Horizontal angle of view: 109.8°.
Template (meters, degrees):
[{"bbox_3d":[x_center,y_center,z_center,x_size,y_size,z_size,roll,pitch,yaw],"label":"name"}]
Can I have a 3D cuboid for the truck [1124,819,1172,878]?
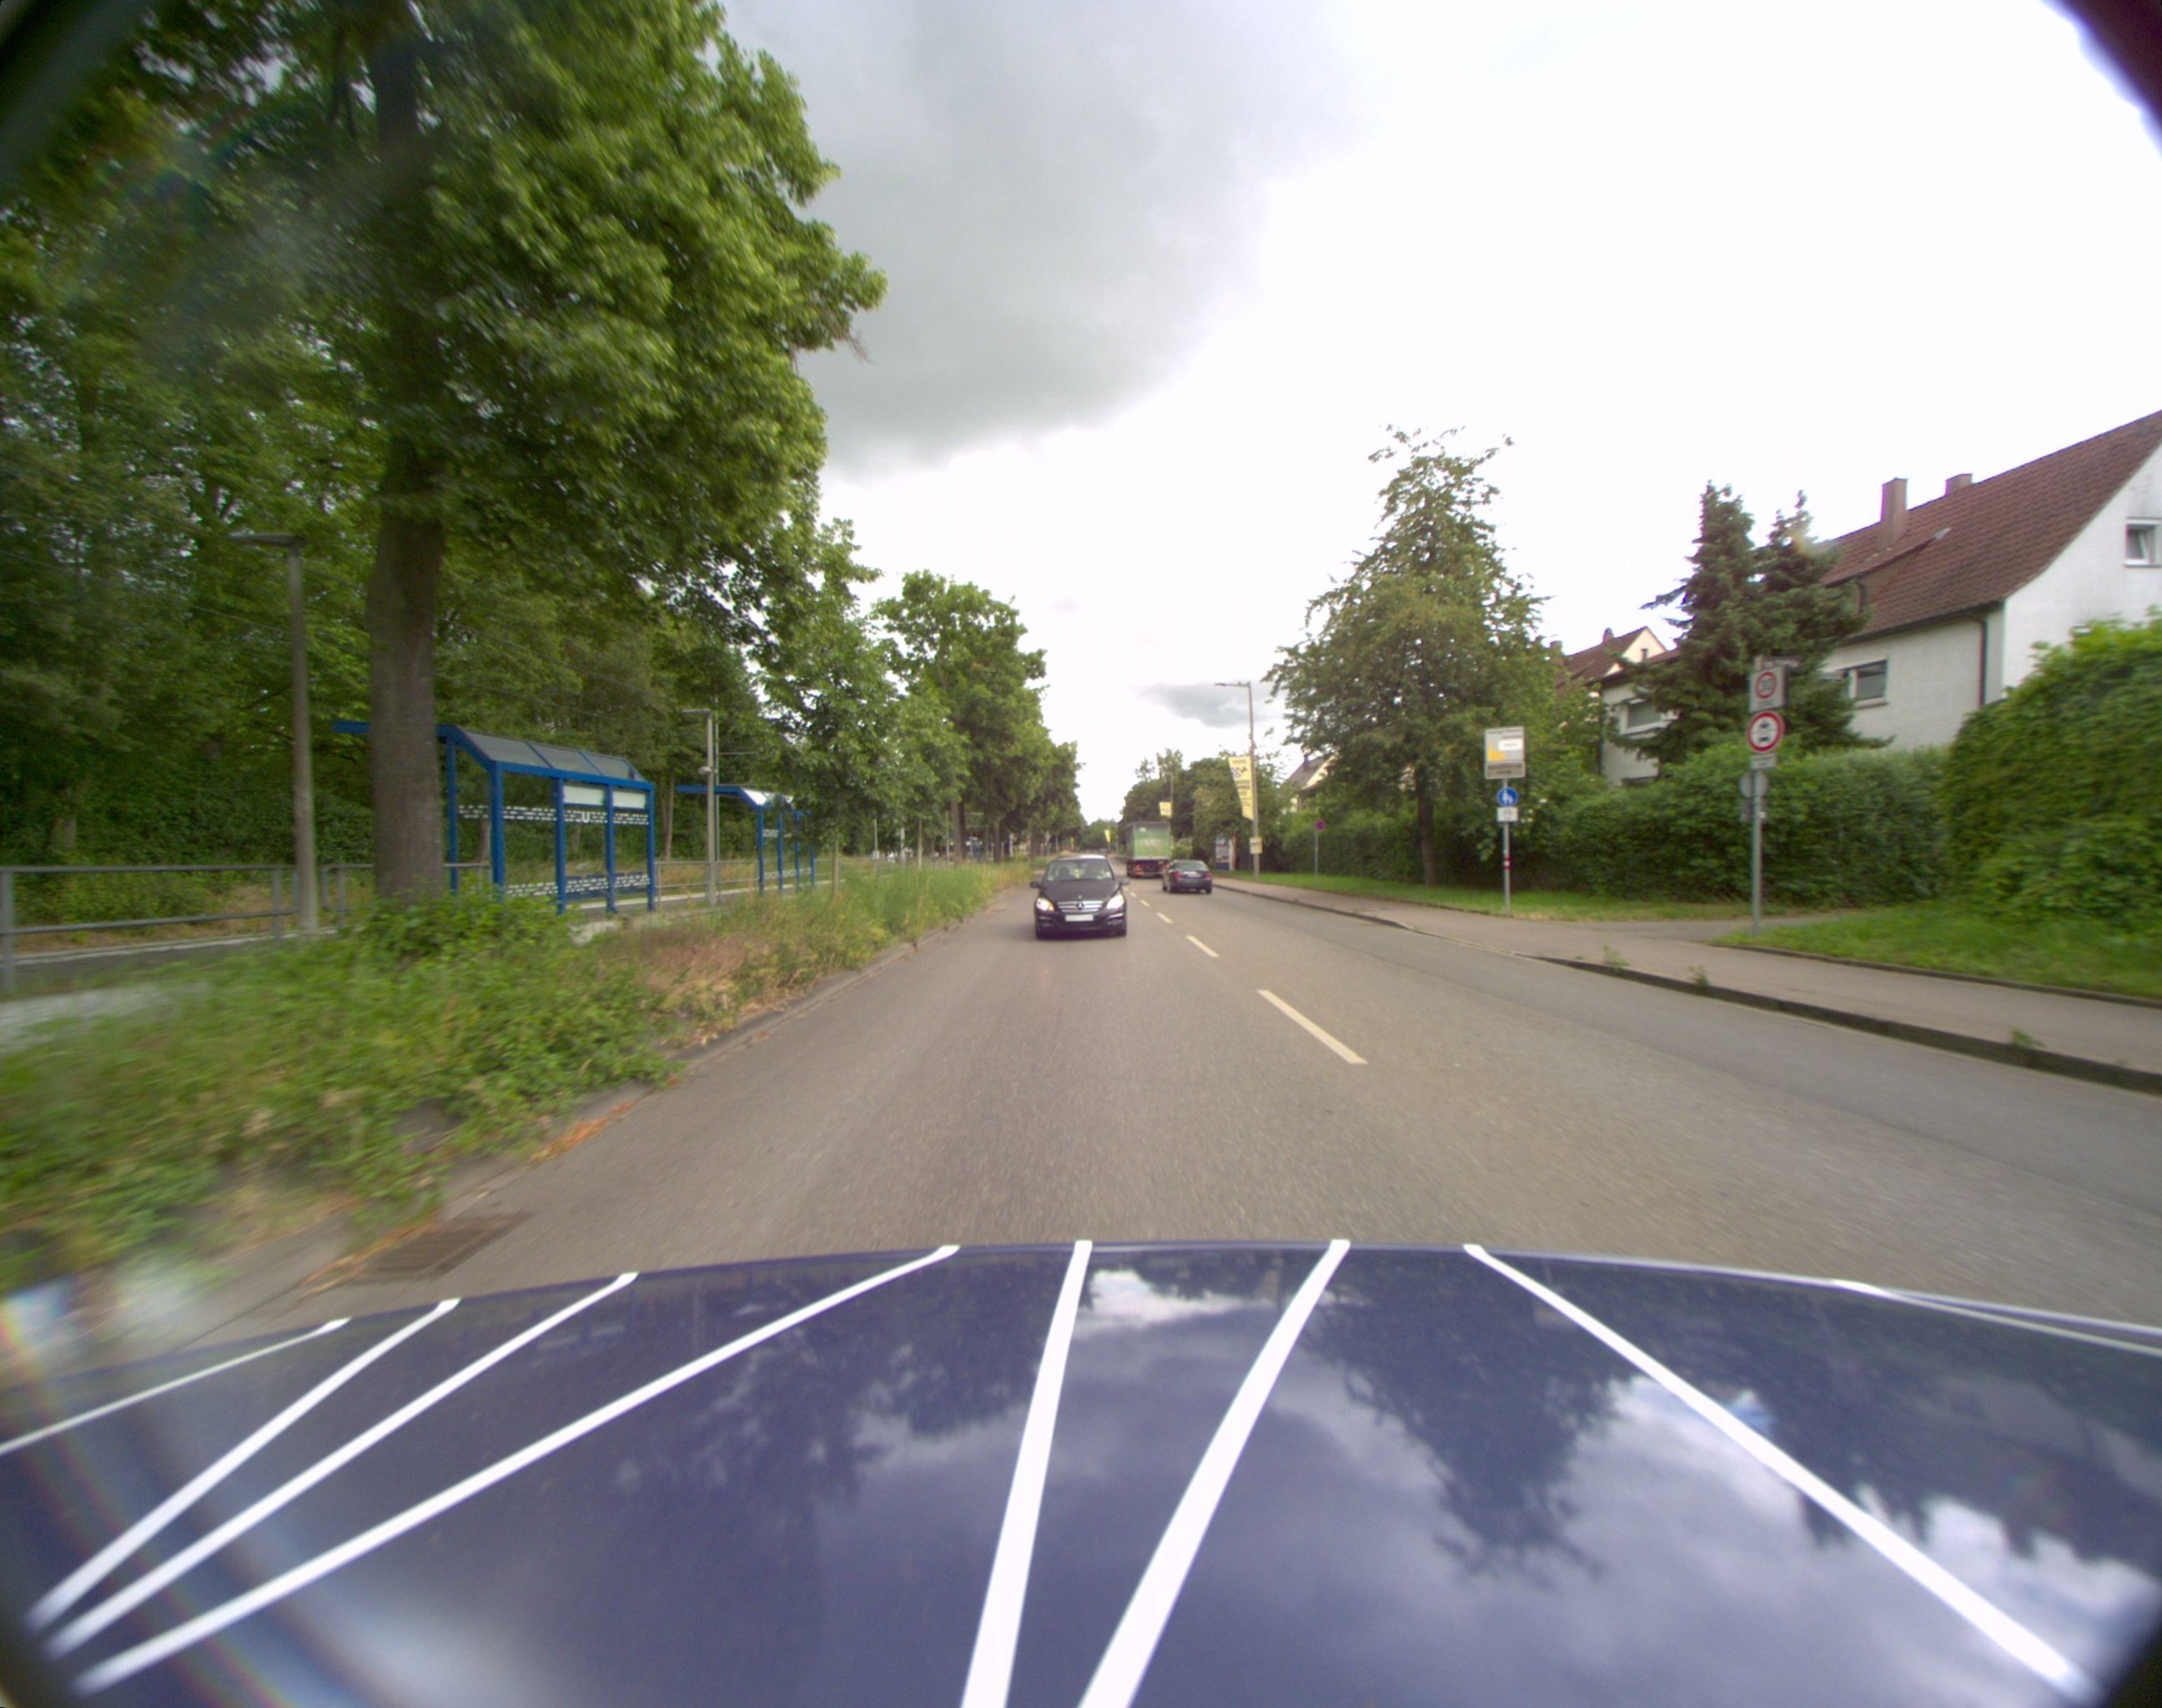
[{"bbox_3d":[4.971,-0.447,58.292,2.556,4.020,10.618,1,1,0],"label":"truck"}]

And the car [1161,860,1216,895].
[{"bbox_3d":[4.615,0.993,33.149,1.737,1.367,4.239,1,0,0],"label":"car"}]

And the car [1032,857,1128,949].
[{"bbox_3d":[-0.026,0.900,16.002,1.683,1.565,4.482,-2,0,0],"label":"car"}]

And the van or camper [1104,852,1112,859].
[{"bbox_3d":[6.775,0.388,193.087,1.918,1.888,4.811,-1,0,0],"label":"van or camper"}]
